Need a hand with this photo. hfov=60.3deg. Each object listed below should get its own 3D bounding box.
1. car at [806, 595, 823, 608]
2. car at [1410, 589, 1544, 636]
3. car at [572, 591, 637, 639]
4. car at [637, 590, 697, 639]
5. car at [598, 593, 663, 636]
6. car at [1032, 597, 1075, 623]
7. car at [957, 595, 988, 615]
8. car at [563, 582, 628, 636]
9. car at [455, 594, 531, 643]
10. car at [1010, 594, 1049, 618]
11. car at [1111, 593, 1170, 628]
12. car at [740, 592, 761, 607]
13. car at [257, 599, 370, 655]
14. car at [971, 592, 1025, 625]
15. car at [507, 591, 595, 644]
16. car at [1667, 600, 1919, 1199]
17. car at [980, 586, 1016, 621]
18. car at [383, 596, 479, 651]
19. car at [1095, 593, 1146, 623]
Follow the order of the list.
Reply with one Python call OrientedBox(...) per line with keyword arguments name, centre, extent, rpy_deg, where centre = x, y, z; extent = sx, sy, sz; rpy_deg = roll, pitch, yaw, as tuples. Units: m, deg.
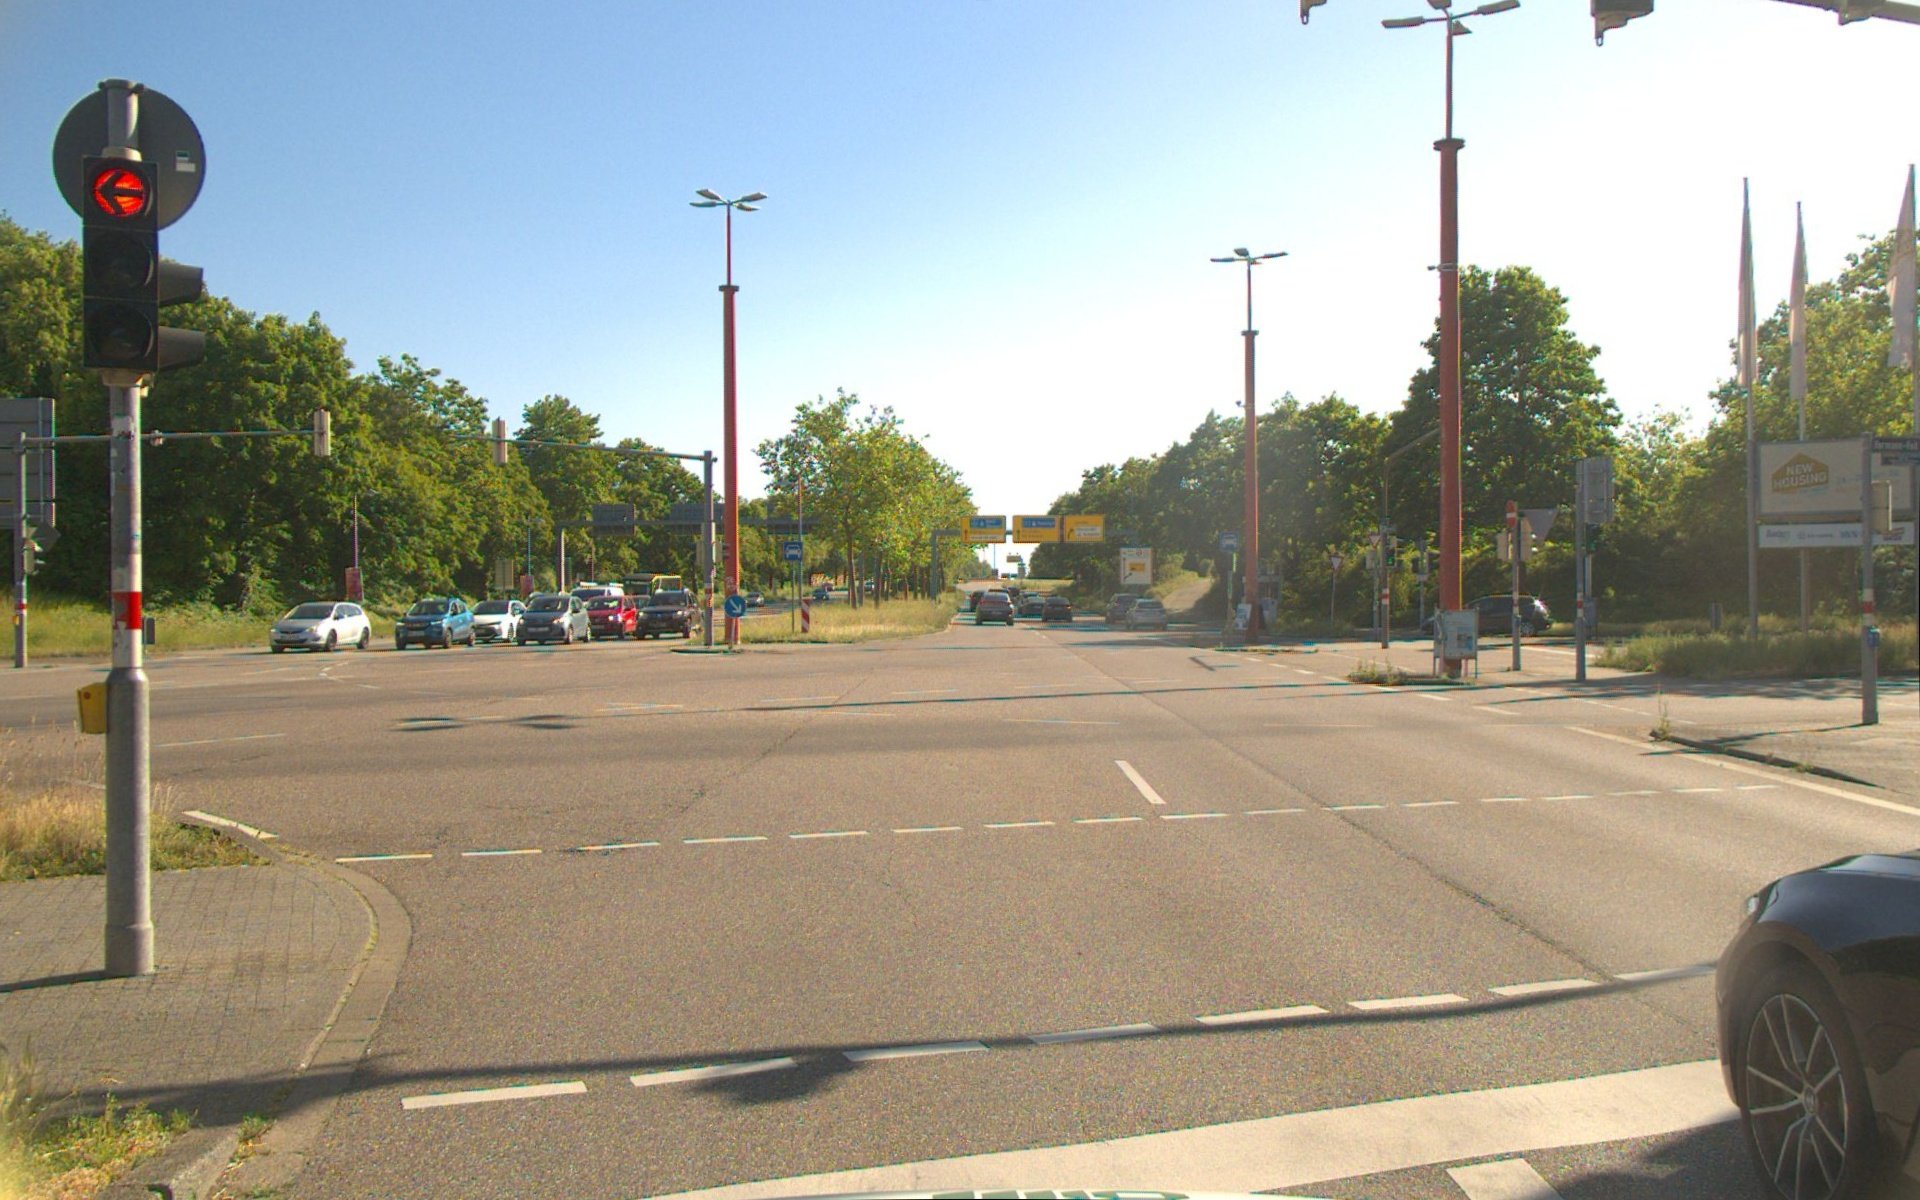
OrientedBox(name="car", centre=(-18.119, 0.228, 206.204), extent=(1.954, 1.601, 4.118), rpy_deg=(0, 0, -3))
OrientedBox(name="car", centre=(18.021, 0.418, 57.627), extent=(4.182, 1.601, 2.164), rpy_deg=(0, 0, 26))
OrientedBox(name="car", centre=(-12.479, 0.505, 58.275), extent=(1.956, 1.601, 4.113), rpy_deg=(0, 0, -8))
OrientedBox(name="car", centre=(-9.875, 0.469, 55.995), extent=(1.841, 1.601, 4.113), rpy_deg=(0, 0, -8))
OrientedBox(name="car", centre=(-12.712, 0.525, 64.051), extent=(1.954, 1.601, 4.117), rpy_deg=(0, 0, -4))
OrientedBox(name="car", centre=(5.380, 0.568, 95.651), extent=(1.915, 1.467, 4.277), rpy_deg=(0, 0, -4))
OrientedBox(name="car", centre=(0.966, 0.410, 132.719), extent=(2.116, 1.601, 4.277), rpy_deg=(0, 0, -4))
OrientedBox(name="car", centre=(-15.672, 0.383, 71.269), extent=(2.021, 2.231, 4.376), rpy_deg=(0, 0, -3))
OrientedBox(name="car", centre=(-15.991, 0.607, 56.788), extent=(1.956, 1.601, 4.113), rpy_deg=(-1, 0, -8))
OrientedBox(name="car", centre=(4.712, 0.406, 112.485), extent=(2.116, 1.601, 4.277), rpy_deg=(0, 0, -4))
OrientedBox(name="car", centre=(8.766, 0.492, 80.601), extent=(2.116, 1.601, 4.277), rpy_deg=(0, 0, -4))
OrientedBox(name="car", centre=(-21.562, -0.054, 170.463), extent=(1.954, 1.601, 4.117), rpy_deg=(0, 0, -5))
OrientedBox(name="car", centre=(-19.587, 0.783, 50.302), extent=(1.954, 1.601, 4.118), rpy_deg=(0, 0, -3))
OrientedBox(name="car", centre=(1.865, 0.392, 82.538), extent=(2.202, 1.601, 4.276), rpy_deg=(0, 0, -5))
OrientedBox(name="car", centre=(-12.806, 0.519, 51.969), extent=(1.954, 1.601, 4.118), rpy_deg=(0, 0, -4))
OrientedBox(name="car", centre=(2.972, 0.714, 2.365), extent=(1.953, 1.419, 4.476), rpy_deg=(0, 0, -1))
OrientedBox(name="car", centre=(2.234, 0.196, 98.676), extent=(1.953, 2.049, 3.999), rpy_deg=(0, 0, -1))
OrientedBox(name="car", centre=(-16.209, 0.680, 50.895), extent=(1.955, 1.601, 4.116), rpy_deg=(0, 0, -5))
OrientedBox(name="car", centre=(8.935, 0.422, 92.467), extent=(2.116, 1.601, 4.277), rpy_deg=(0, 0, -4))
